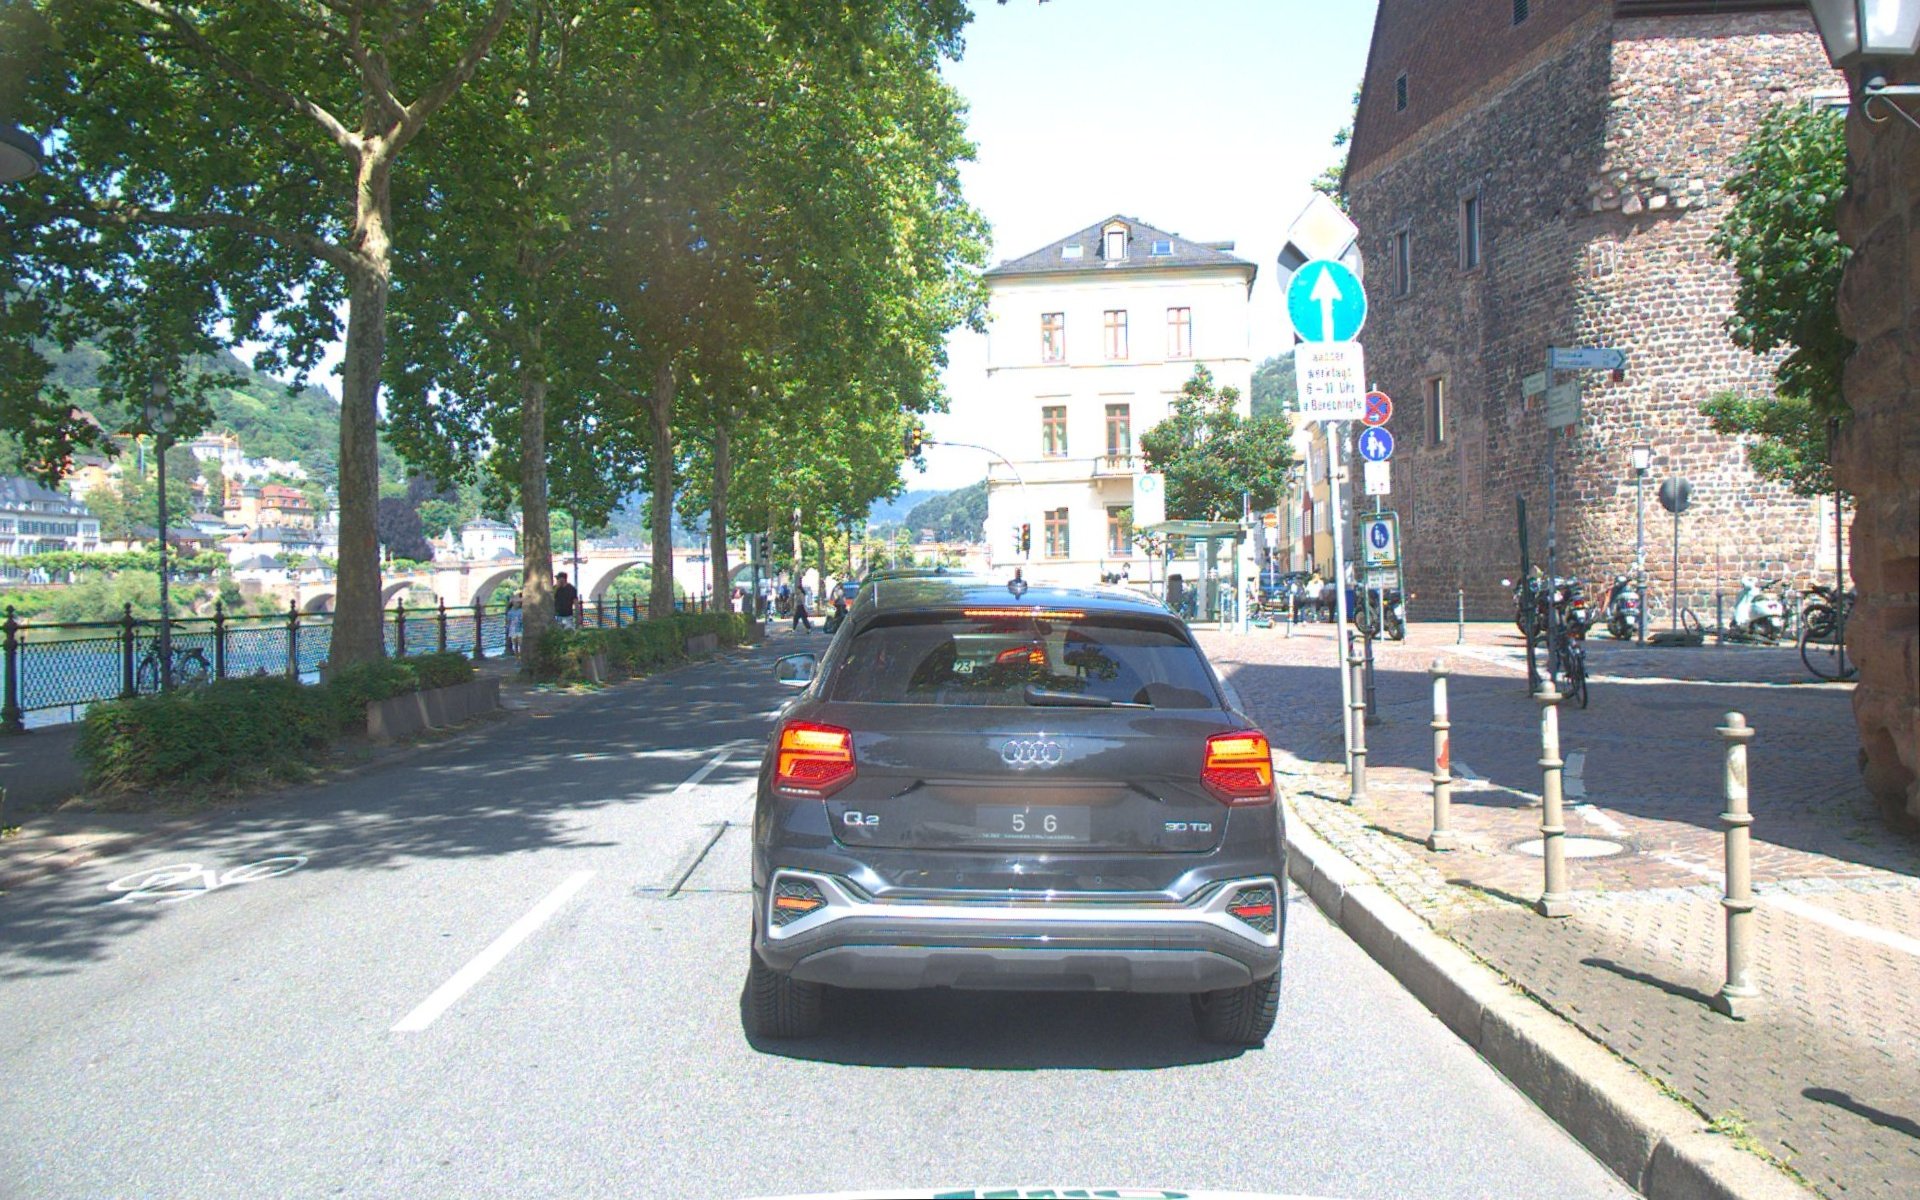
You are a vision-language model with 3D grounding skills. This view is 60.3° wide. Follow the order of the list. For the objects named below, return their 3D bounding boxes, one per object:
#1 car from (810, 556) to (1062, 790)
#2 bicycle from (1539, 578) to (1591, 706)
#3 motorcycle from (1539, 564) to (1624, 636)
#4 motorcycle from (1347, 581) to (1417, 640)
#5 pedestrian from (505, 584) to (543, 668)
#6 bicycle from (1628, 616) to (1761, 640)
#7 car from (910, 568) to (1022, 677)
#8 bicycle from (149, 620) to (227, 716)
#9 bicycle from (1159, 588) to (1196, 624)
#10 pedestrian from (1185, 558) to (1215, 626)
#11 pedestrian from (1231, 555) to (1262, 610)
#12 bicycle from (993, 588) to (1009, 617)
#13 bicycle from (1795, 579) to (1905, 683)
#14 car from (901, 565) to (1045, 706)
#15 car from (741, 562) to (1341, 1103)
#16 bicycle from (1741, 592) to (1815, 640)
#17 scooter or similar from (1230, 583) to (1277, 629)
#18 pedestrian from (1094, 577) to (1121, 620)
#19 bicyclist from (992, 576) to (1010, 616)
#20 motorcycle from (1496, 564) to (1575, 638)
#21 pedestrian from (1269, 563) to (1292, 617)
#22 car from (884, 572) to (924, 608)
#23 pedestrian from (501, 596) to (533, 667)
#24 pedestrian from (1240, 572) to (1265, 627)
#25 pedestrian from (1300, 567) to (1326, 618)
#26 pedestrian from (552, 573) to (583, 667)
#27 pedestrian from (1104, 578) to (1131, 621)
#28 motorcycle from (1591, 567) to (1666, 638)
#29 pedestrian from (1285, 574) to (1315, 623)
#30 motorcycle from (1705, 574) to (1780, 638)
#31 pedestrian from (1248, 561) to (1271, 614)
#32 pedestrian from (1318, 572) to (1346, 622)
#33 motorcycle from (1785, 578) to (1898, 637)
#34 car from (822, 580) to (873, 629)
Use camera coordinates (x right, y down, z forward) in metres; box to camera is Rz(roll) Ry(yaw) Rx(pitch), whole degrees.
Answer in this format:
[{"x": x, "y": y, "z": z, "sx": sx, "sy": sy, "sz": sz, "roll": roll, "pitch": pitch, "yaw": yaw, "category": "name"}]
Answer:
[{"x": -0.195, "y": 0.505, "z": 13.440, "sx": 1.756, "sy": 1.623, "sz": 3.398, "roll": 1, "pitch": 0, "yaw": -1, "category": "car"}, {"x": 6.152, "y": 0.396, "z": 16.862, "sx": 0.189, "sy": 1.224, "sz": 1.771, "roll": 0, "pitch": 1, "yaw": 10, "category": "bicycle"}, {"x": 11.381, "y": 0.005, "z": 30.359, "sx": 0.661, "sy": 1.257, "sz": 2.312, "roll": 1, "pitch": 0, "yaw": -1, "category": "motorcycle"}, {"x": 7.689, "y": 0.171, "z": 30.254, "sx": 0.555, "sy": 1.030, "sz": 2.489, "roll": -1, "pitch": 1, "yaw": -2, "category": "motorcycle"}, {"x": -8.970, "y": 0.525, "z": 34.040, "sx": 0.589, "sy": 1.715, "sz": 0.583, "roll": -1, "pitch": 0, "yaw": -2, "category": "pedestrian"}, {"x": 12.262, "y": 0.463, "z": 27.678, "sx": 1.887, "sy": 0.388, "sz": 0.918, "roll": 0, "pitch": -1, "yaw": 14, "category": "bicycle"}, {"x": 0.064, "y": 0.341, "z": 28.211, "sx": 1.758, "sy": 1.711, "sz": 3.999, "roll": 1, "pitch": 0, "yaw": -1, "category": "car"}, {"x": -9.535, "y": 0.824, "z": 20.459, "sx": 0.352, "sy": 1.110, "sz": 1.295, "roll": 2, "pitch": 0, "yaw": -2, "category": "bicycle"}, {"x": 6.537, "y": 0.182, "z": 49.692, "sx": 1.166, "sy": 1.033, "sz": 0.178, "roll": 1, "pitch": -1, "yaw": -20, "category": "bicycle"}, {"x": 6.081, "y": -0.194, "z": 41.878, "sx": 0.640, "sy": 1.691, "sz": 0.810, "roll": -1, "pitch": 0, "yaw": 15, "category": "pedestrian"}, {"x": 10.701, "y": -0.649, "z": 61.841, "sx": 0.923, "sy": 2.049, "sz": 0.805, "roll": 1, "pitch": -1, "yaw": -10, "category": "pedestrian"}, {"x": 1.539, "y": 0.095, "z": 62.364, "sx": 0.428, "sy": 1.105, "sz": 1.675, "roll": 1, "pitch": 0, "yaw": -5, "category": "bicycle"}, {"x": 10.614, "y": 0.343, "z": 19.782, "sx": 0.437, "sy": 1.182, "sz": 1.731, "roll": -1, "pitch": 1, "yaw": 3, "category": "bicycle"}, {"x": 0.132, "y": 0.409, "z": 21.733, "sx": 1.676, "sy": 1.637, "sz": 3.654, "roll": -2, "pitch": 0, "yaw": -1, "category": "car"}, {"x": 0.212, "y": 0.653, "z": 6.603, "sx": 1.707, "sy": 1.535, "sz": 3.646, "roll": 1, "pitch": 1, "yaw": -1, "category": "car"}, {"x": 15.125, "y": 0.286, "z": 30.618, "sx": 0.346, "sy": 0.835, "sz": 1.926, "roll": 1, "pitch": 1, "yaw": -2, "category": "bicycle"}, {"x": 7.008, "y": 0.150, "z": 39.501, "sx": 1.067, "sy": 1.084, "sz": 0.323, "roll": 1, "pitch": -1, "yaw": -3, "category": "scooter or similar"}, {"x": 4.359, "y": -0.034, "z": 48.958, "sx": 0.651, "sy": 1.253, "sz": 0.640, "roll": 1, "pitch": -1, "yaw": -7, "category": "pedestrian"}, {"x": 1.535, "y": -0.149, "z": 62.350, "sx": 0.593, "sy": 1.475, "sz": 0.590, "roll": 1, "pitch": -1, "yaw": -6, "category": "bicyclist"}, {"x": 10.495, "y": 0.023, "z": 30.222, "sx": 0.642, "sy": 1.288, "sz": 2.199, "roll": 0, "pitch": 0, "yaw": -1, "category": "motorcycle"}, {"x": 14.401, "y": -0.447, "z": 74.343, "sx": 0.861, "sy": 2.399, "sz": 0.745, "roll": 1, "pitch": -1, "yaw": -1, "category": "pedestrian"}, {"x": -3.027, "y": -0.566, "z": 90.547, "sx": 1.953, "sy": 1.838, "sz": 4.000, "roll": -2, "pitch": 0, "yaw": 1, "category": "car"}, {"x": -8.782, "y": 0.616, "z": 32.778, "sx": 0.469, "sy": 1.386, "sz": 0.417, "roll": 2, "pitch": 0, "yaw": 3, "category": "pedestrian"}, {"x": 7.560, "y": -0.014, "z": 42.716, "sx": 0.546, "sy": 1.409, "sz": 0.588, "roll": 1, "pitch": -1, "yaw": 1, "category": "pedestrian"}, {"x": 11.703, "y": -0.237, "z": 54.859, "sx": 0.595, "sy": 1.647, "sz": 0.710, "roll": -3, "pitch": 0, "yaw": -1, "category": "pedestrian"}, {"x": -8.054, "y": 0.401, "z": 33.936, "sx": 0.523, "sy": 1.920, "sz": 0.436, "roll": 0, "pitch": 0, "yaw": -1, "category": "pedestrian"}, {"x": 4.594, "y": -0.007, "z": 48.225, "sx": 0.651, "sy": 1.233, "sz": 0.640, "roll": 1, "pitch": -1, "yaw": -7, "category": "pedestrian"}, {"x": 12.274, "y": 0.041, "z": 30.423, "sx": 0.535, "sy": 1.257, "sz": 2.030, "roll": 1, "pitch": 0, "yaw": -1, "category": "motorcycle"}, {"x": 10.459, "y": -0.053, "z": 50.929, "sx": 0.626, "sy": 1.469, "sz": 0.797, "roll": -2, "pitch": 0, "yaw": -7, "category": "pedestrian"}, {"x": 14.000, "y": 0.106, "z": 29.640, "sx": 0.496, "sy": 1.092, "sz": 1.840, "roll": 1, "pitch": 0, "yaw": 1, "category": "motorcycle"}, {"x": 13.477, "y": -0.557, "z": 74.447, "sx": 0.861, "sy": 2.399, "sz": 0.745, "roll": 1, "pitch": -1, "yaw": -1, "category": "pedestrian"}, {"x": 12.352, "y": -0.104, "z": 54.932, "sx": 0.677, "sy": 1.640, "sz": 0.891, "roll": -2, "pitch": 0, "yaw": -1, "category": "pedestrian"}, {"x": 16.699, "y": 0.142, "z": 31.364, "sx": 1.826, "sy": 1.072, "sz": 0.480, "roll": 1, "pitch": -1, "yaw": 7, "category": "motorcycle"}, {"x": -4.221, "y": 0.140, "z": 62.731, "sx": 1.639, "sy": 1.689, "sz": 4.222, "roll": -3, "pitch": 1, "yaw": -1, "category": "car"}]
